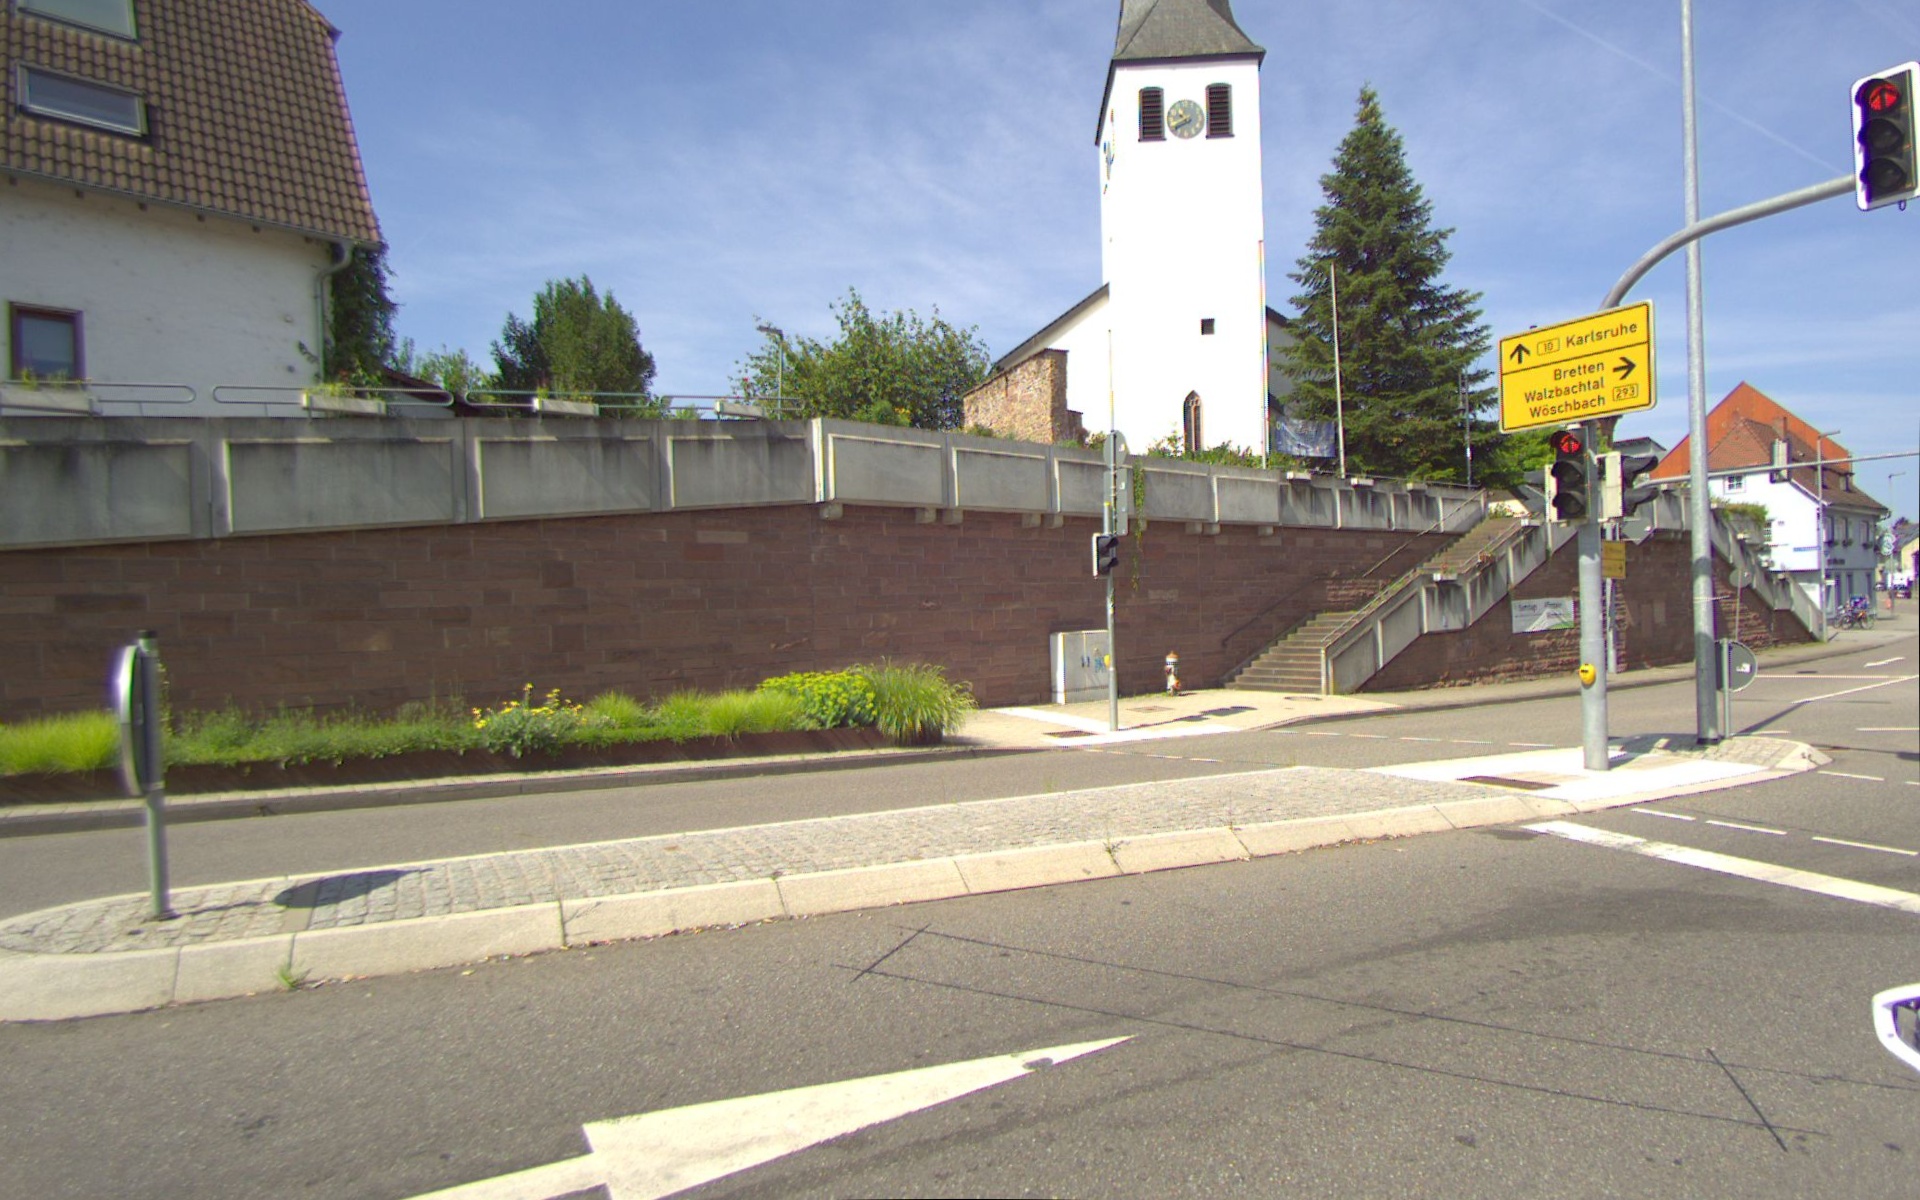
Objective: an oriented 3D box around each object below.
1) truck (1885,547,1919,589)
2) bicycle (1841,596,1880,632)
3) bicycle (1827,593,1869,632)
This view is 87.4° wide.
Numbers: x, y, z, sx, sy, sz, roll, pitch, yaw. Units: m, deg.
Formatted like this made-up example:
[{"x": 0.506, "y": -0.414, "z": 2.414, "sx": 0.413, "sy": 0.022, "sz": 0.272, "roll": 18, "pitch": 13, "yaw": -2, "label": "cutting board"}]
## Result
[{"x": 87.182, "y": -2.811, "z": 90.725, "sx": 3.114, "sy": 3.507, "sz": 10.687, "roll": 2, "pitch": 1, "yaw": 31, "label": "truck"}, {"x": 42.109, "y": 0.655, "z": 46.957, "sx": 2.531, "sy": 1.629, "sz": 0.555, "roll": 0, "pitch": 1, "yaw": -29, "label": "bicycle"}, {"x": 42.378, "y": 0.584, "z": 47.945, "sx": 2.637, "sy": 1.803, "sz": 0.638, "roll": 0, "pitch": 1, "yaw": -29, "label": "bicycle"}]
